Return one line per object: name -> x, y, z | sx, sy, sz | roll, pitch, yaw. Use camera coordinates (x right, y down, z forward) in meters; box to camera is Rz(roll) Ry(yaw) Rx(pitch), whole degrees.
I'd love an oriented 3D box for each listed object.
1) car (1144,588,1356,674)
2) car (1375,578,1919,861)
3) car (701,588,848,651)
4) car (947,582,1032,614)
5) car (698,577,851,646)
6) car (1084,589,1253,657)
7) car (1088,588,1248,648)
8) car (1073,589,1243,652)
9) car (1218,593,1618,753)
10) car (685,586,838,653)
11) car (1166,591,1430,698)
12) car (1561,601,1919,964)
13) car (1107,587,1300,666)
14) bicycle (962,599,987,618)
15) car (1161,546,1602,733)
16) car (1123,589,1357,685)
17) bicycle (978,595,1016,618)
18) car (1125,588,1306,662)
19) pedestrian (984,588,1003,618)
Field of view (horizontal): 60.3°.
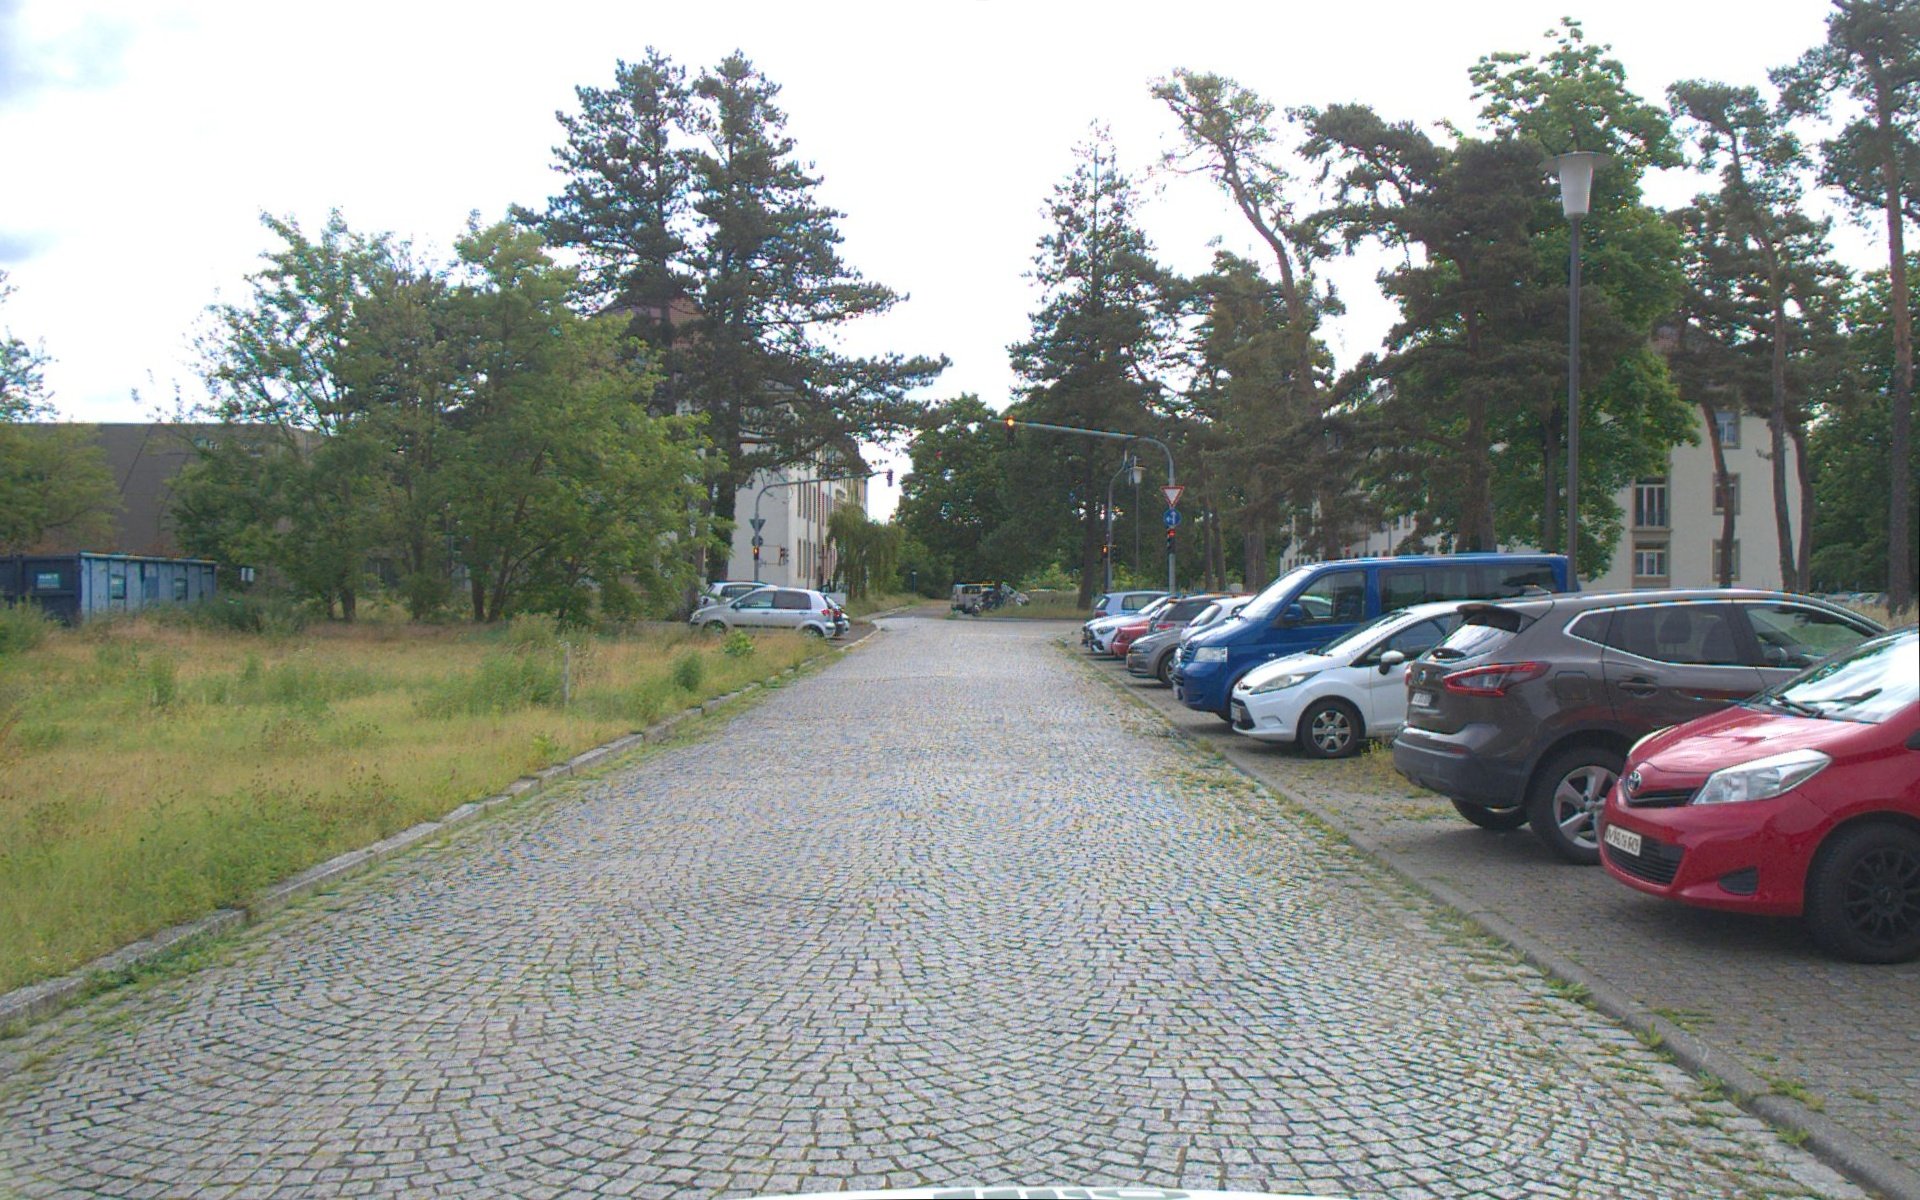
car -> 5.304, 0.561, 30.496 | 3.597, 1.475, 1.523 | -1, 0, -2
car -> 4.842, 0.673, 10.481 | 3.947, 1.579, 1.750 | -1, 0, -2
car -> -4.970, 0.510, 44.627 | 3.743, 1.600, 1.564 | -1, 0, 0
car -> 1.935, -0.154, 110.099 | 5.345, 2.049, 2.264 | 1, 0, -9
car -> -5.296, 0.329, 47.616 | 4.175, 1.873, 1.743 | -1, 0, 0
car -> 4.725, 0.503, 37.742 | 3.599, 1.446, 1.522 | -1, 0, -4
car -> 5.400, 0.463, 43.246 | 3.889, 1.446, 1.618 | -1, 0, -4
car -> 4.825, 0.494, 40.597 | 3.889, 1.446, 1.618 | -1, 0, -4
car -> 4.581, 0.707, 16.859 | 3.598, 1.475, 1.614 | -1, 0, -2
car -> -5.025, 0.483, 42.210 | 3.745, 1.600, 1.563 | -1, 0, -3
car -> 5.000, 0.640, 24.729 | 3.597, 1.475, 1.523 | -1, 0, -2
car -> 5.024, 0.748, 7.830 | 3.714, 1.485, 1.751 | -1, 0, 0
car -> 4.850, 0.523, 33.204 | 3.597, 1.475, 1.523 | -1, 0, -2
bicycle -> 0.754, 0.461, 88.123 | 0.612, 0.961, 1.648 | 1, 0, -27
car -> 4.836, 0.437, 19.451 | 4.658, 1.989, 1.931 | -1, 0, -2
car -> 4.601, 0.591, 27.510 | 3.597, 1.475, 1.523 | -1, 0, -2
bicycle -> 2.057, 0.362, 92.188 | 2.094, 1.236, 0.621 | 1, 0, -4
car -> 5.440, 0.518, 35.487 | 3.597, 1.475, 1.523 | -1, 0, -2
pedestrian -> 1.865, 0.149, 92.531 | 1.013, 1.642, 0.757 | 1, 0, -4
